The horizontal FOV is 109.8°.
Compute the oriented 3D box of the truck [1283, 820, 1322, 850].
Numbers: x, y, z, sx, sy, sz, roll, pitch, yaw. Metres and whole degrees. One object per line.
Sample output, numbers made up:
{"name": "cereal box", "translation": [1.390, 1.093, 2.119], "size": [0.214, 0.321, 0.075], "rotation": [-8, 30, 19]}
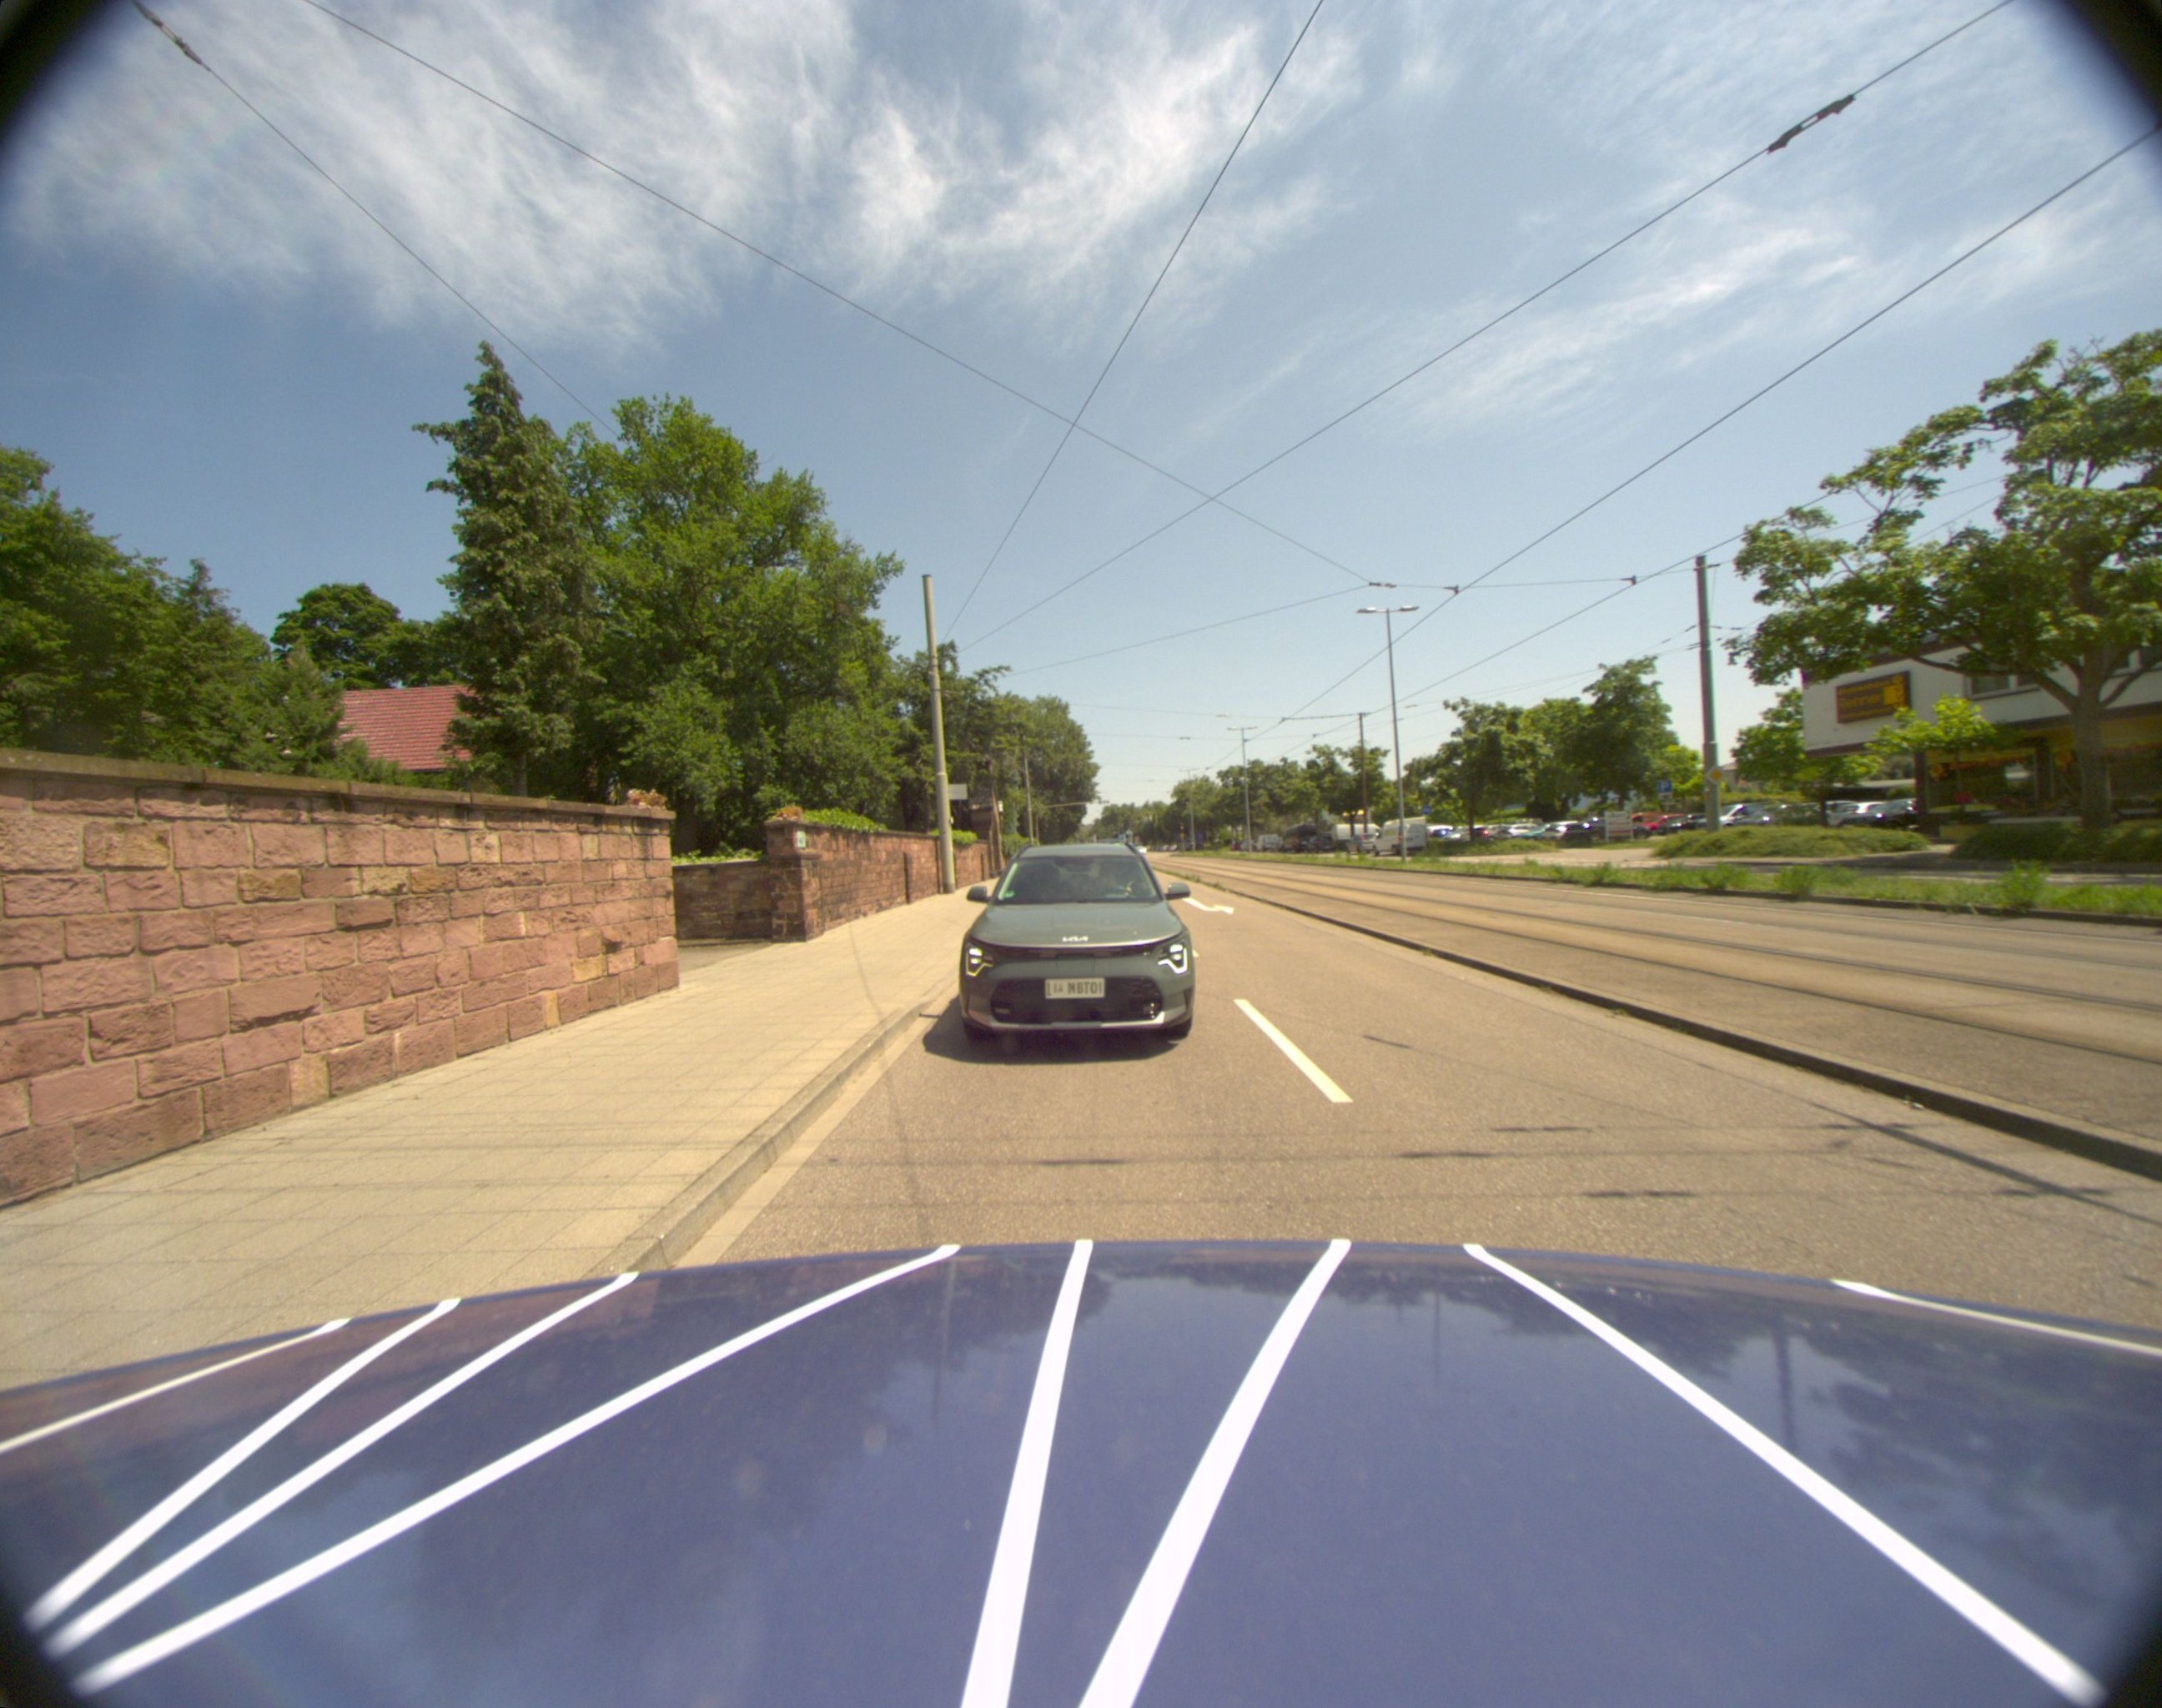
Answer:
{"name": "truck", "translation": [20.627, -1.754, 71.013], "size": [2.225, 2.527, 4.928], "rotation": [-3, 1, 1]}

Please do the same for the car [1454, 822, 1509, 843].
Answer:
{"name": "car", "translation": [30.842, -1.664, 58.570], "size": [3.414, 1.386, 1.602], "rotation": [-3, 1, -4]}

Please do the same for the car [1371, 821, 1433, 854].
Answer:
{"name": "car", "translation": [20.448, -1.047, 48.633], "size": [1.998, 1.872, 4.661], "rotation": [-3, 1, 1]}

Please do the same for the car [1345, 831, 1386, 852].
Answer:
{"name": "car", "translation": [20.506, -0.911, 54.951], "size": [1.675, 1.379, 3.568], "rotation": [-3, 1, 3]}

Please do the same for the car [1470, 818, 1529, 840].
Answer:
{"name": "car", "translation": [30.405, -1.795, 55.247], "size": [3.414, 1.386, 1.602], "rotation": [-3, 1, -4]}

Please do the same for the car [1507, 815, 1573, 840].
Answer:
{"name": "car", "translation": [30.513, -1.747, 50.513], "size": [3.414, 1.482, 1.598], "rotation": [-3, 1, -4]}

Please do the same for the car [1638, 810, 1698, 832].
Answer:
{"name": "car", "translation": [44.672, -2.476, 57.863], "size": [3.355, 1.450, 1.506], "rotation": [-3, 1, -2]}

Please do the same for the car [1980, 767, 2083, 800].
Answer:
{"name": "car", "translation": [61.427, -4.532, 49.165], "size": [3.996, 1.762, 2.000], "rotation": [-3, 1, 3]}

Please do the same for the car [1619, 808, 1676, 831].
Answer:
{"name": "car", "translation": [45.041, -2.756, 60.445], "size": [3.355, 1.552, 1.506], "rotation": [-3, 1, -2]}

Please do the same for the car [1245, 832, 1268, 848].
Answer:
{"name": "car", "translation": [21.035, -1.684, 91.033], "size": [1.681, 1.783, 4.202], "rotation": [-3, 1, 0]}

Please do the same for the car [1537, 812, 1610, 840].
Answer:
{"name": "car", "translation": [31.109, -1.756, 48.065], "size": [3.414, 1.482, 1.793], "rotation": [-3, 1, -4]}

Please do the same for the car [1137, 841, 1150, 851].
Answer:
{"name": "car", "translation": [11.426, -1.518, 139.793], "size": [1.998, 1.652, 3.999], "rotation": [-3, 1, 1]}

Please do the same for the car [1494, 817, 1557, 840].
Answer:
{"name": "car", "translation": [30.961, -1.772, 52.985], "size": [3.414, 1.386, 1.602], "rotation": [-3, 1, -4]}

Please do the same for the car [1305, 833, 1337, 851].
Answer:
{"name": "car", "translation": [20.474, -1.000, 64.918], "size": [1.675, 1.379, 3.669], "rotation": [-3, 1, 3]}

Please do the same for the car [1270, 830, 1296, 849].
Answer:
{"name": "car", "translation": [21.108, -1.515, 79.530], "size": [1.681, 1.783, 3.868], "rotation": [-3, 1, 0]}

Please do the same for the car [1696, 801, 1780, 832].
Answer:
{"name": "car", "translation": [43.392, -2.440, 50.197], "size": [3.998, 1.774, 1.813], "rotation": [-3, 1, -2]}

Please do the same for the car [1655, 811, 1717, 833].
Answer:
{"name": "car", "translation": [44.025, -2.307, 55.319], "size": [3.355, 1.381, 1.506], "rotation": [-3, 1, -2]}

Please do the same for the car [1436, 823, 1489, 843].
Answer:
{"name": "car", "translation": [30.601, -1.648, 60.978], "size": [3.414, 1.386, 1.602], "rotation": [-3, 1, -4]}

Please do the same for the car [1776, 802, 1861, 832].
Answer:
{"name": "car", "translation": [43.591, -2.199, 44.972], "size": [3.492, 1.528, 1.624], "rotation": [-3, 1, -2]}

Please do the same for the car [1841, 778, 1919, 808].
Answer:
{"name": "car", "translation": [63.911, -4.839, 60.796], "size": [3.996, 2.002, 2.000], "rotation": [-3, 1, 3]}

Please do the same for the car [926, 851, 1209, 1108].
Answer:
{"name": "car", "translation": [-0.048, 0.817, 7.043], "size": [1.789, 1.561, 4.183], "rotation": [-2, 1, 1]}

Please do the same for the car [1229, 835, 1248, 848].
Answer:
{"name": "car", "translation": [21.135, -1.699, 102.236], "size": [1.681, 1.693, 3.823], "rotation": [-3, 1, 0]}

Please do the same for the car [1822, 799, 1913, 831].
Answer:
{"name": "car", "translation": [44.038, -2.182, 42.575], "size": [3.492, 1.528, 1.624], "rotation": [-3, 1, -2]}

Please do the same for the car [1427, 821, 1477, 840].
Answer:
{"name": "car", "translation": [31.097, -1.980, 63.751], "size": [3.414, 1.386, 1.602], "rotation": [-3, 1, -4]}

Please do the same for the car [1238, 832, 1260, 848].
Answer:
{"name": "car", "translation": [21.062, -1.732, 95.441], "size": [1.681, 1.783, 4.202], "rotation": [-3, 1, 0]}

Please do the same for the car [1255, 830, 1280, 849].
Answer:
{"name": "car", "translation": [20.844, -1.592, 85.060], "size": [1.681, 1.963, 4.508], "rotation": [-3, 1, 0]}

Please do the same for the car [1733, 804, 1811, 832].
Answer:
{"name": "car", "translation": [43.454, -2.254, 47.809], "size": [3.492, 1.528, 1.534], "rotation": [-3, 1, -2]}

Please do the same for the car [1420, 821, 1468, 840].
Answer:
{"name": "car", "translation": [31.695, -2.051, 66.341], "size": [3.414, 1.497, 1.602], "rotation": [-3, 1, -4]}
